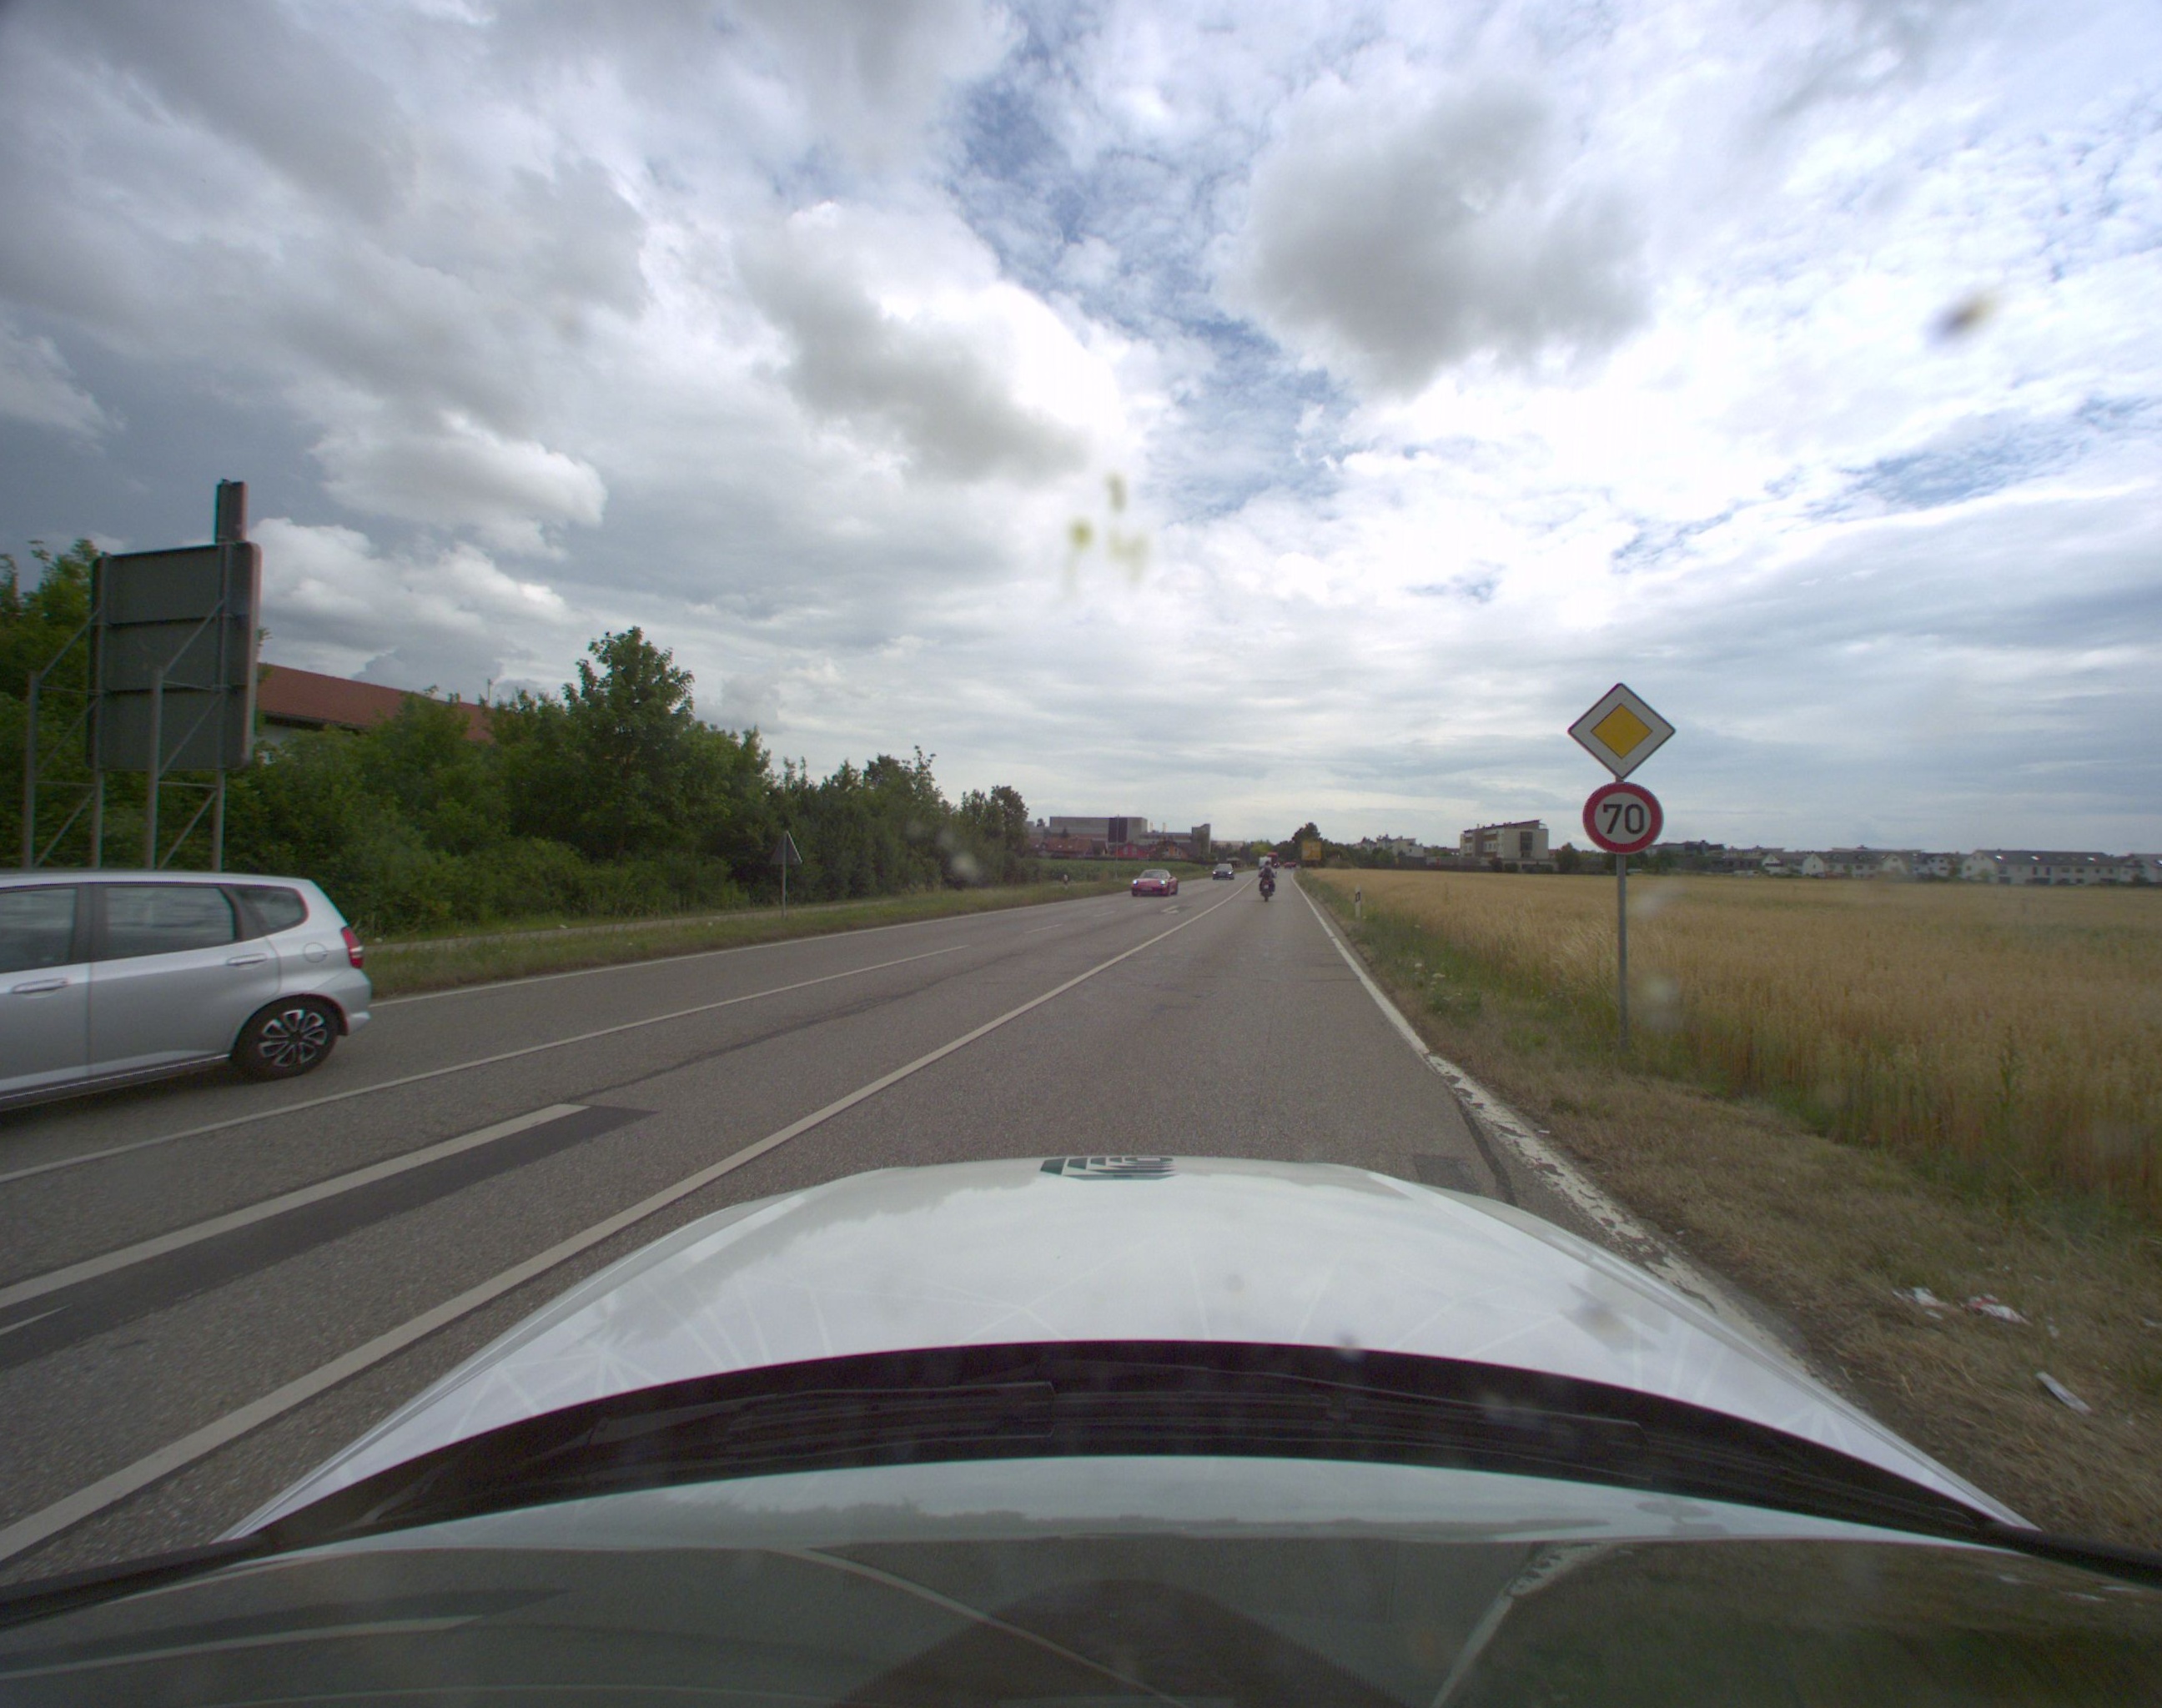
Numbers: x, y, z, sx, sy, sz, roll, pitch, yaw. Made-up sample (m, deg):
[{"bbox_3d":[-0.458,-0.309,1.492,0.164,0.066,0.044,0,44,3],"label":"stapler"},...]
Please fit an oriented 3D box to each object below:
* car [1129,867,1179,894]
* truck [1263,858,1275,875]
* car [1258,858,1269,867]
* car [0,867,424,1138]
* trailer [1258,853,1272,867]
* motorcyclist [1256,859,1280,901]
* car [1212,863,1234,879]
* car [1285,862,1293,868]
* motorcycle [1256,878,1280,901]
[{"bbox_3d":[3.728,1.286,40.916,1.758,1.241,4.228,1,0,15],"label":"car"},{"bbox_3d":[47.940,3.195,207.449,2.709,3.987,6.843,1,-1,15],"label":"truck"},{"bbox_3d":[36.039,1.643,160.620,1.979,1.699,4.693,1,0,15],"label":"car"},{"bbox_3d":[-6.556,0.802,4.766,1.717,1.431,3.949,0,-1,14],"label":"car"},{"bbox_3d":[37.608,1.297,166.453,2.307,2.729,7.874,1,-1,15],"label":"trailer"},{"bbox_3d":[8.074,1.090,35.083,0.934,1.750,1.205,1,-1,14],"label":"motorcyclist"},{"bbox_3d":[13.231,1.596,75.923,1.657,1.429,4.319,0,-1,14],"label":"car"},{"bbox_3d":[53.291,2.927,208.644,1.841,1.472,4.015,1,-1,15],"label":"car"},{"bbox_3d":[8.093,1.507,35.195,0.934,0.890,2.154,1,-1,15],"label":"motorcycle"}]
